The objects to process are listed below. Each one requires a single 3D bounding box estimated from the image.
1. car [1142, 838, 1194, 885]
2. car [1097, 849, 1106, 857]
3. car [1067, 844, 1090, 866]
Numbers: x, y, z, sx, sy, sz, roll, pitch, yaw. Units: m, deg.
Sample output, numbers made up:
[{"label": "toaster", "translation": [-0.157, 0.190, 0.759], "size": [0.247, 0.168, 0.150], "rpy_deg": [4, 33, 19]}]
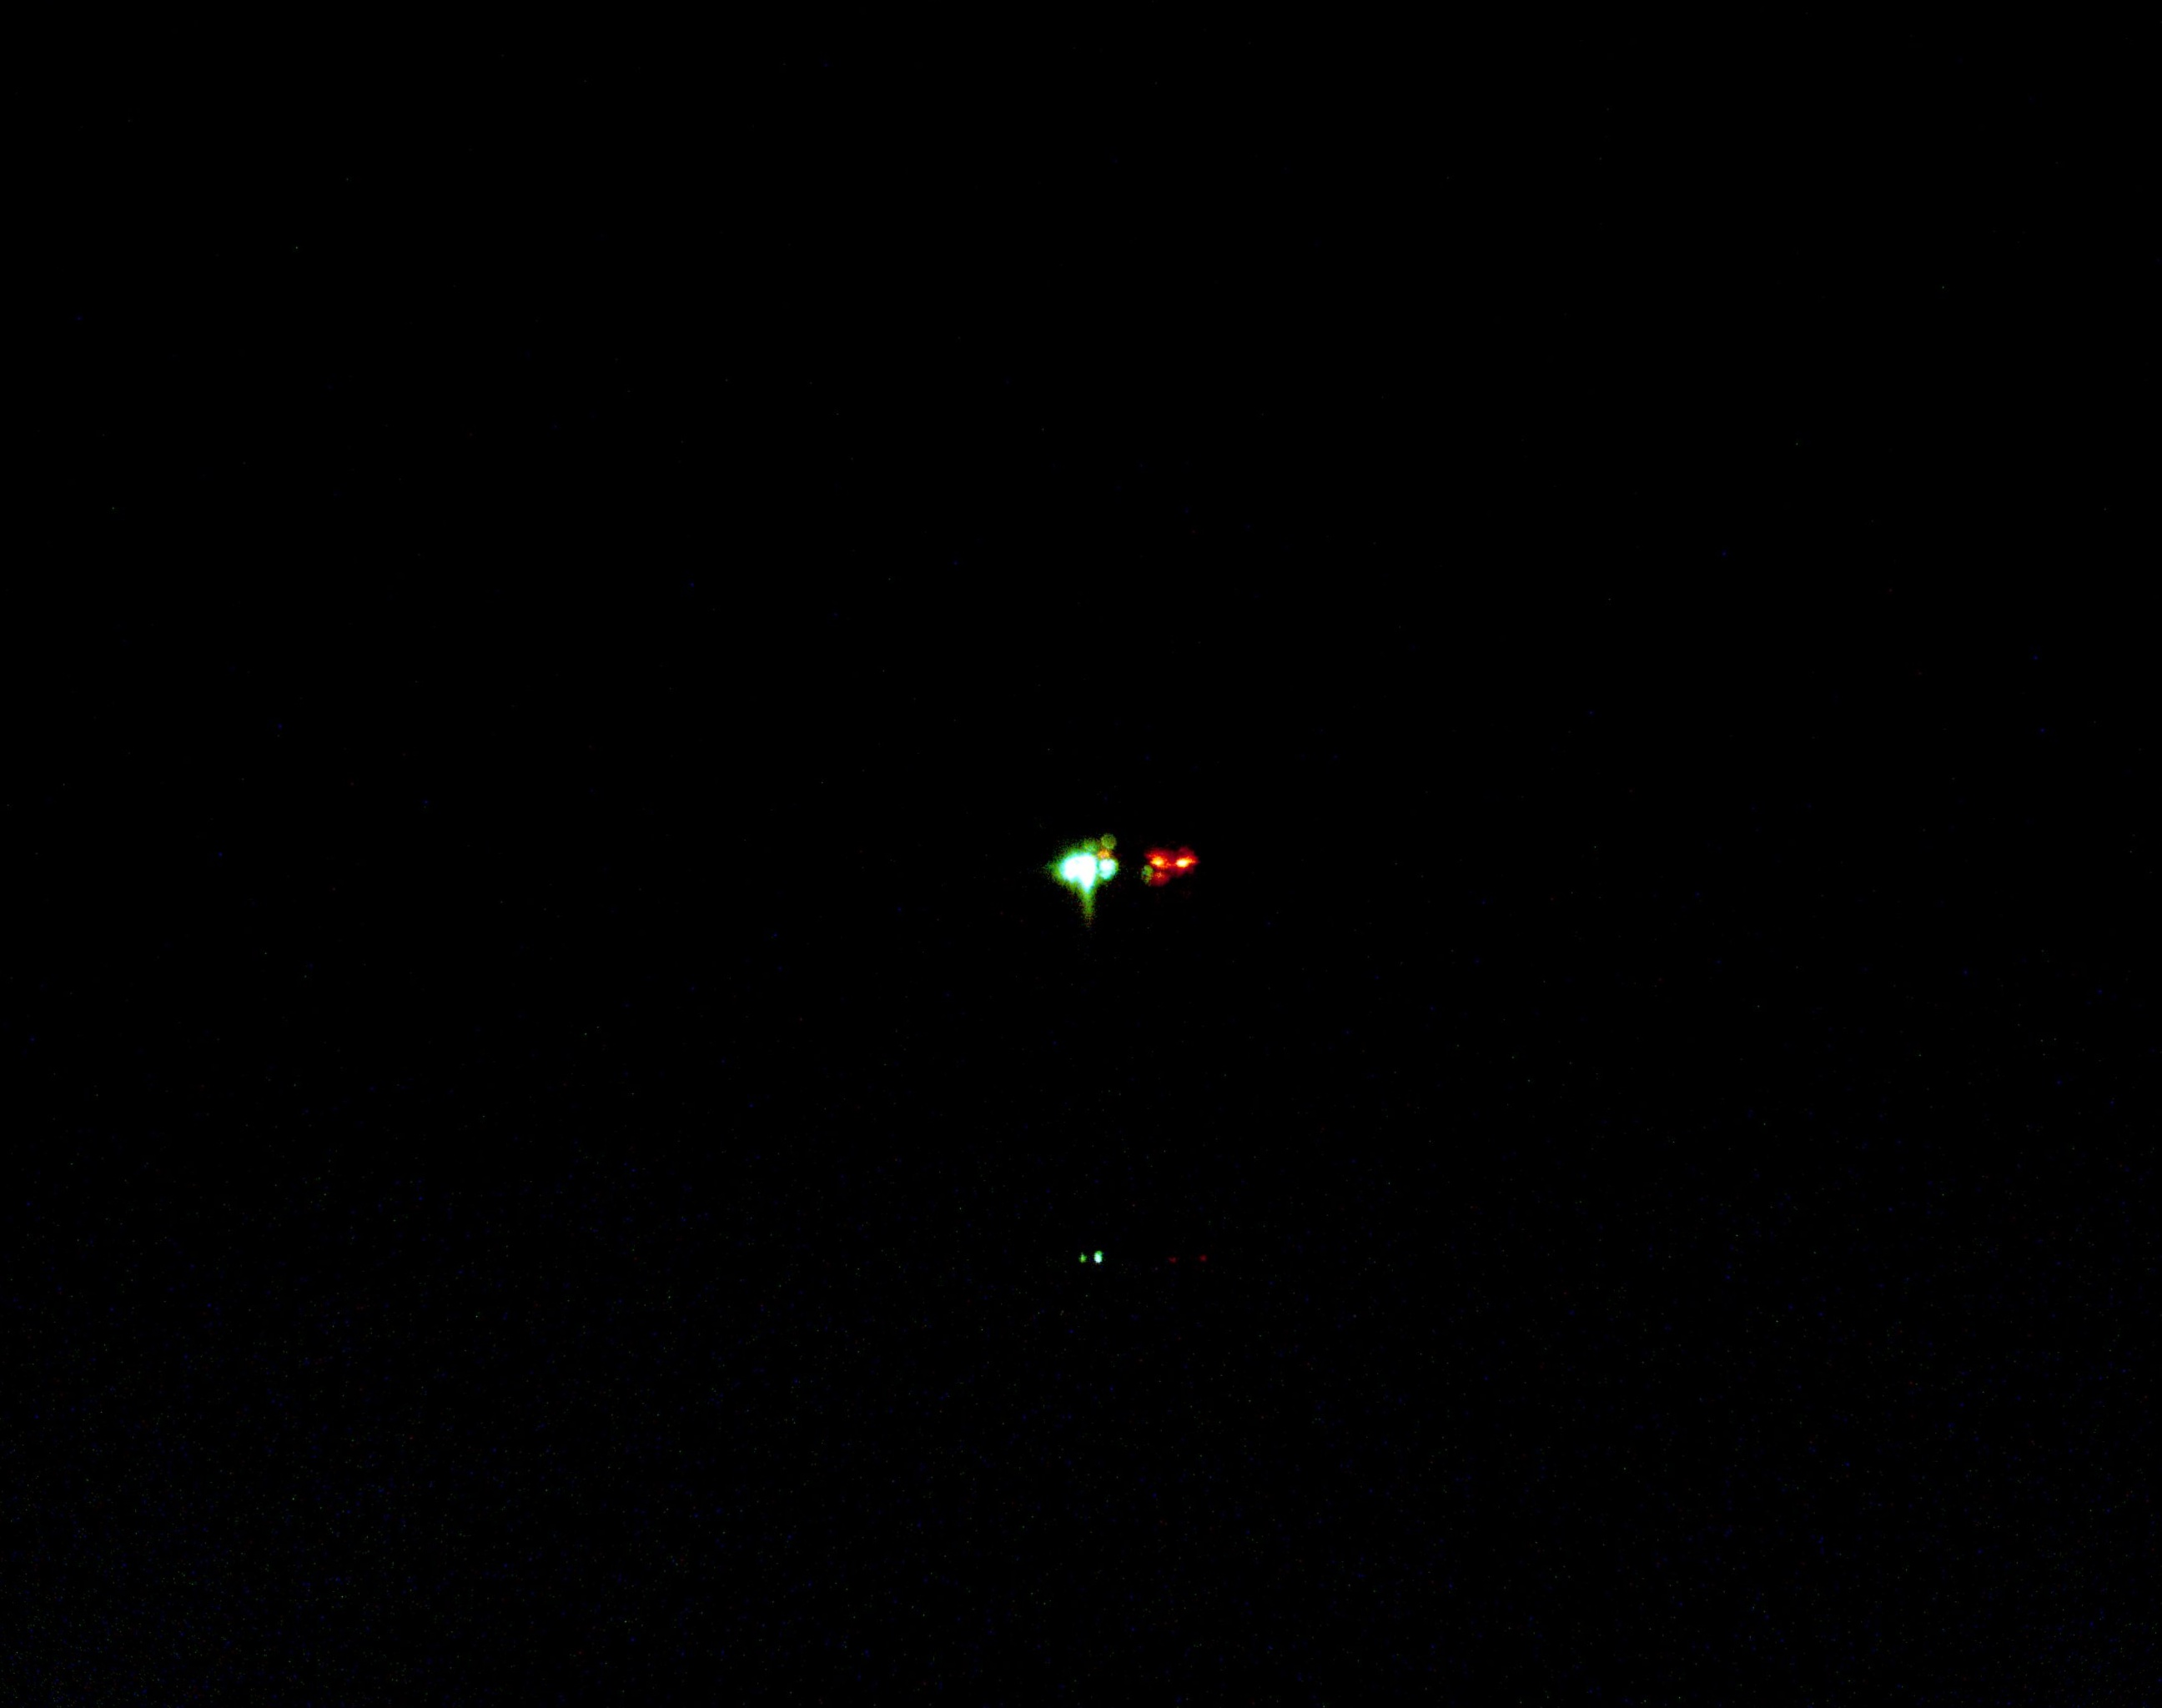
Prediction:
[{"label": "car", "translation": [4.048, 0.314, 36.085], "size": [1.998, 2.002, 3.999], "rpy_deg": [-2, 1, 1]}, {"label": "car", "translation": [5.043, -0.259, 187.988], "size": [1.951, 1.718, 3.999], "rpy_deg": [-3, 1, 0]}, {"label": "car", "translation": [-0.205, 0.052, 72.835], "size": [1.998, 2.002, 3.999], "rpy_deg": [-2, 1, 1]}]
